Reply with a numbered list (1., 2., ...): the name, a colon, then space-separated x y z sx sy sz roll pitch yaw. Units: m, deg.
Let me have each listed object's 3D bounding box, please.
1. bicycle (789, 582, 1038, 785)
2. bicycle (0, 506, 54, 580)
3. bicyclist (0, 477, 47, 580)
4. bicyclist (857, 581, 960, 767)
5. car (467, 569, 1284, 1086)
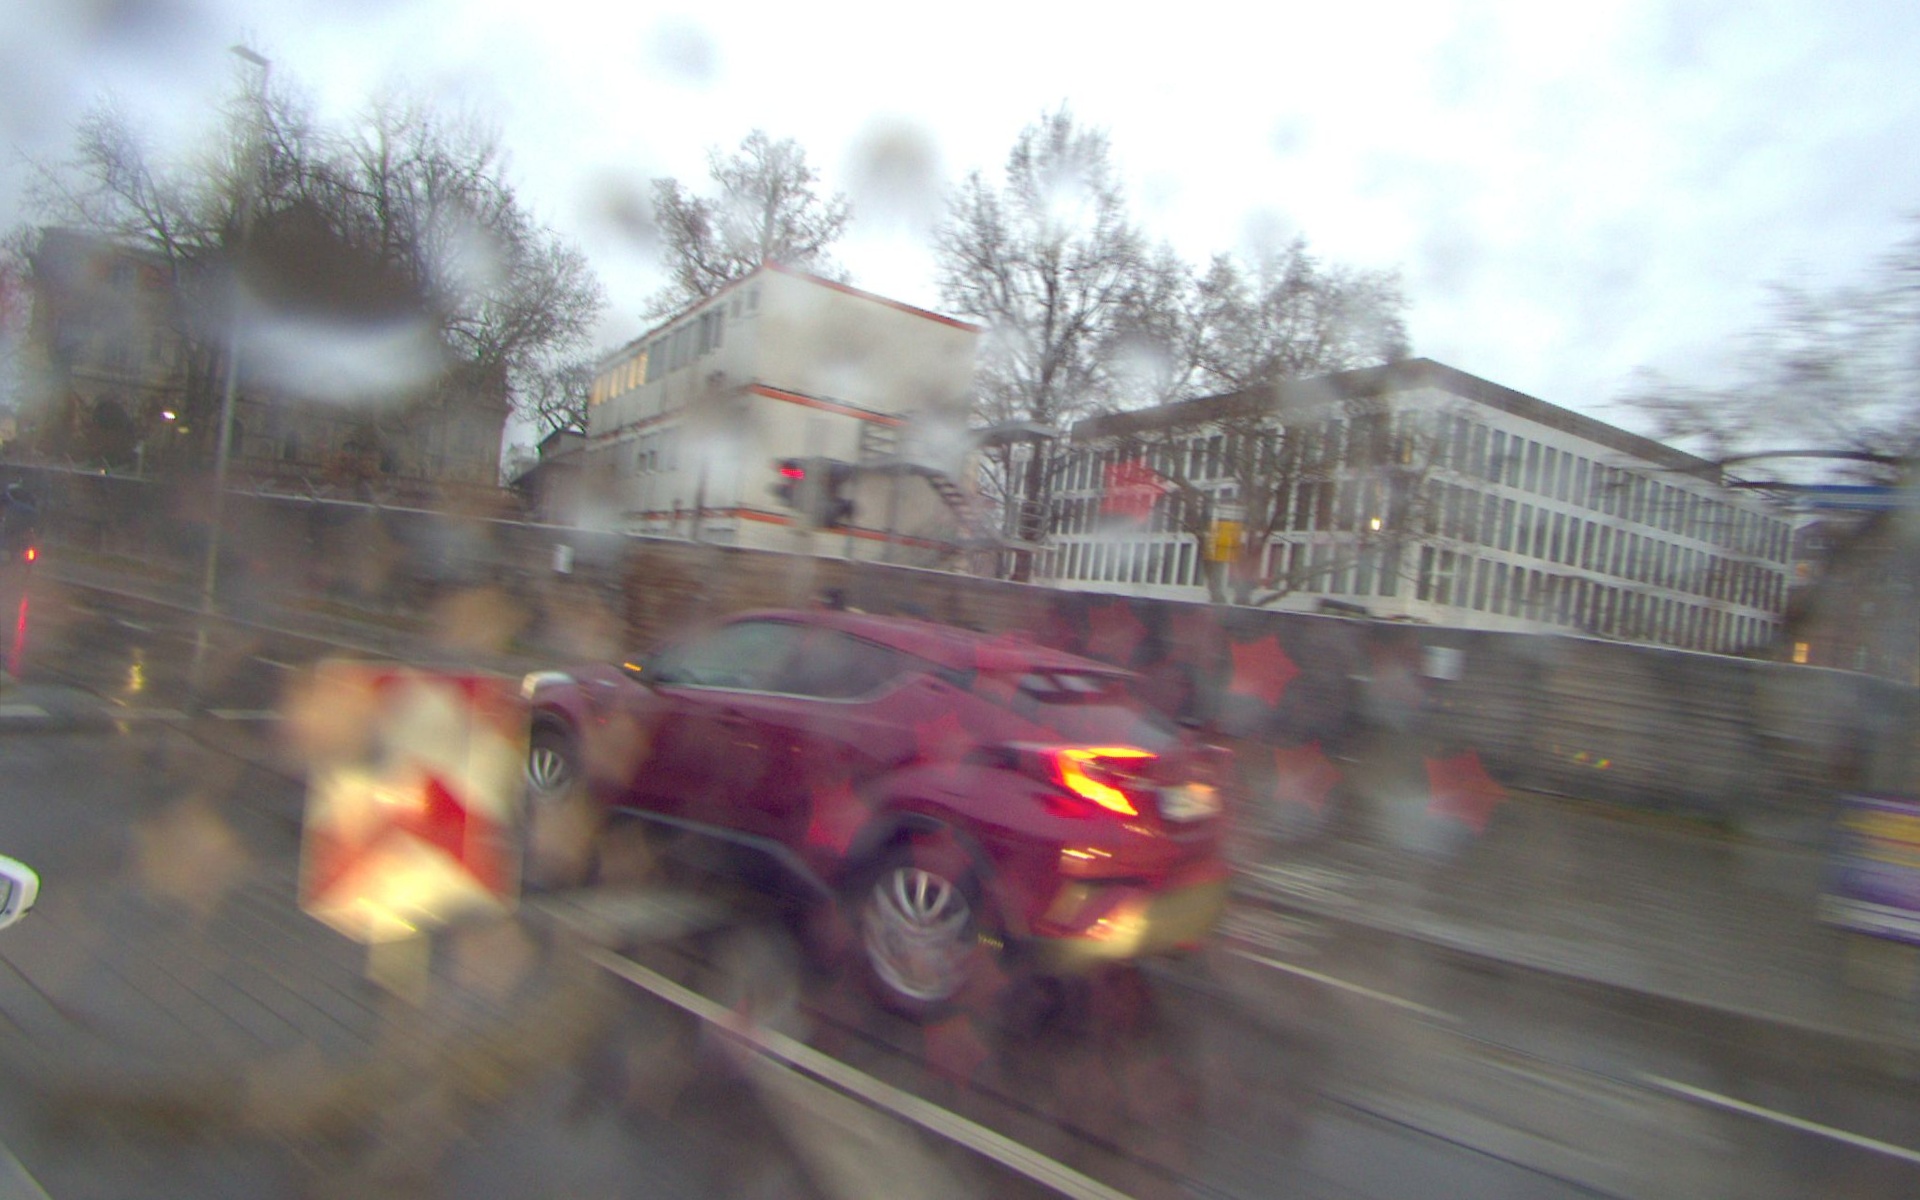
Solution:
1. bicycle: -0.459 0.818 9.998 2.207 1.676 0.690 8 -1 -5
2. bicycle: -17.433 -1.085 18.509 1.994 1.200 0.412 7 1 29
3. bicyclist: -17.426 -1.327 18.546 0.823 1.789 0.501 7 1 29
4. bicyclist: -0.494 0.717 9.989 0.803 1.699 0.697 7 0 0
5. car: -0.619 0.823 5.242 3.938 1.496 1.724 6 -3 36
